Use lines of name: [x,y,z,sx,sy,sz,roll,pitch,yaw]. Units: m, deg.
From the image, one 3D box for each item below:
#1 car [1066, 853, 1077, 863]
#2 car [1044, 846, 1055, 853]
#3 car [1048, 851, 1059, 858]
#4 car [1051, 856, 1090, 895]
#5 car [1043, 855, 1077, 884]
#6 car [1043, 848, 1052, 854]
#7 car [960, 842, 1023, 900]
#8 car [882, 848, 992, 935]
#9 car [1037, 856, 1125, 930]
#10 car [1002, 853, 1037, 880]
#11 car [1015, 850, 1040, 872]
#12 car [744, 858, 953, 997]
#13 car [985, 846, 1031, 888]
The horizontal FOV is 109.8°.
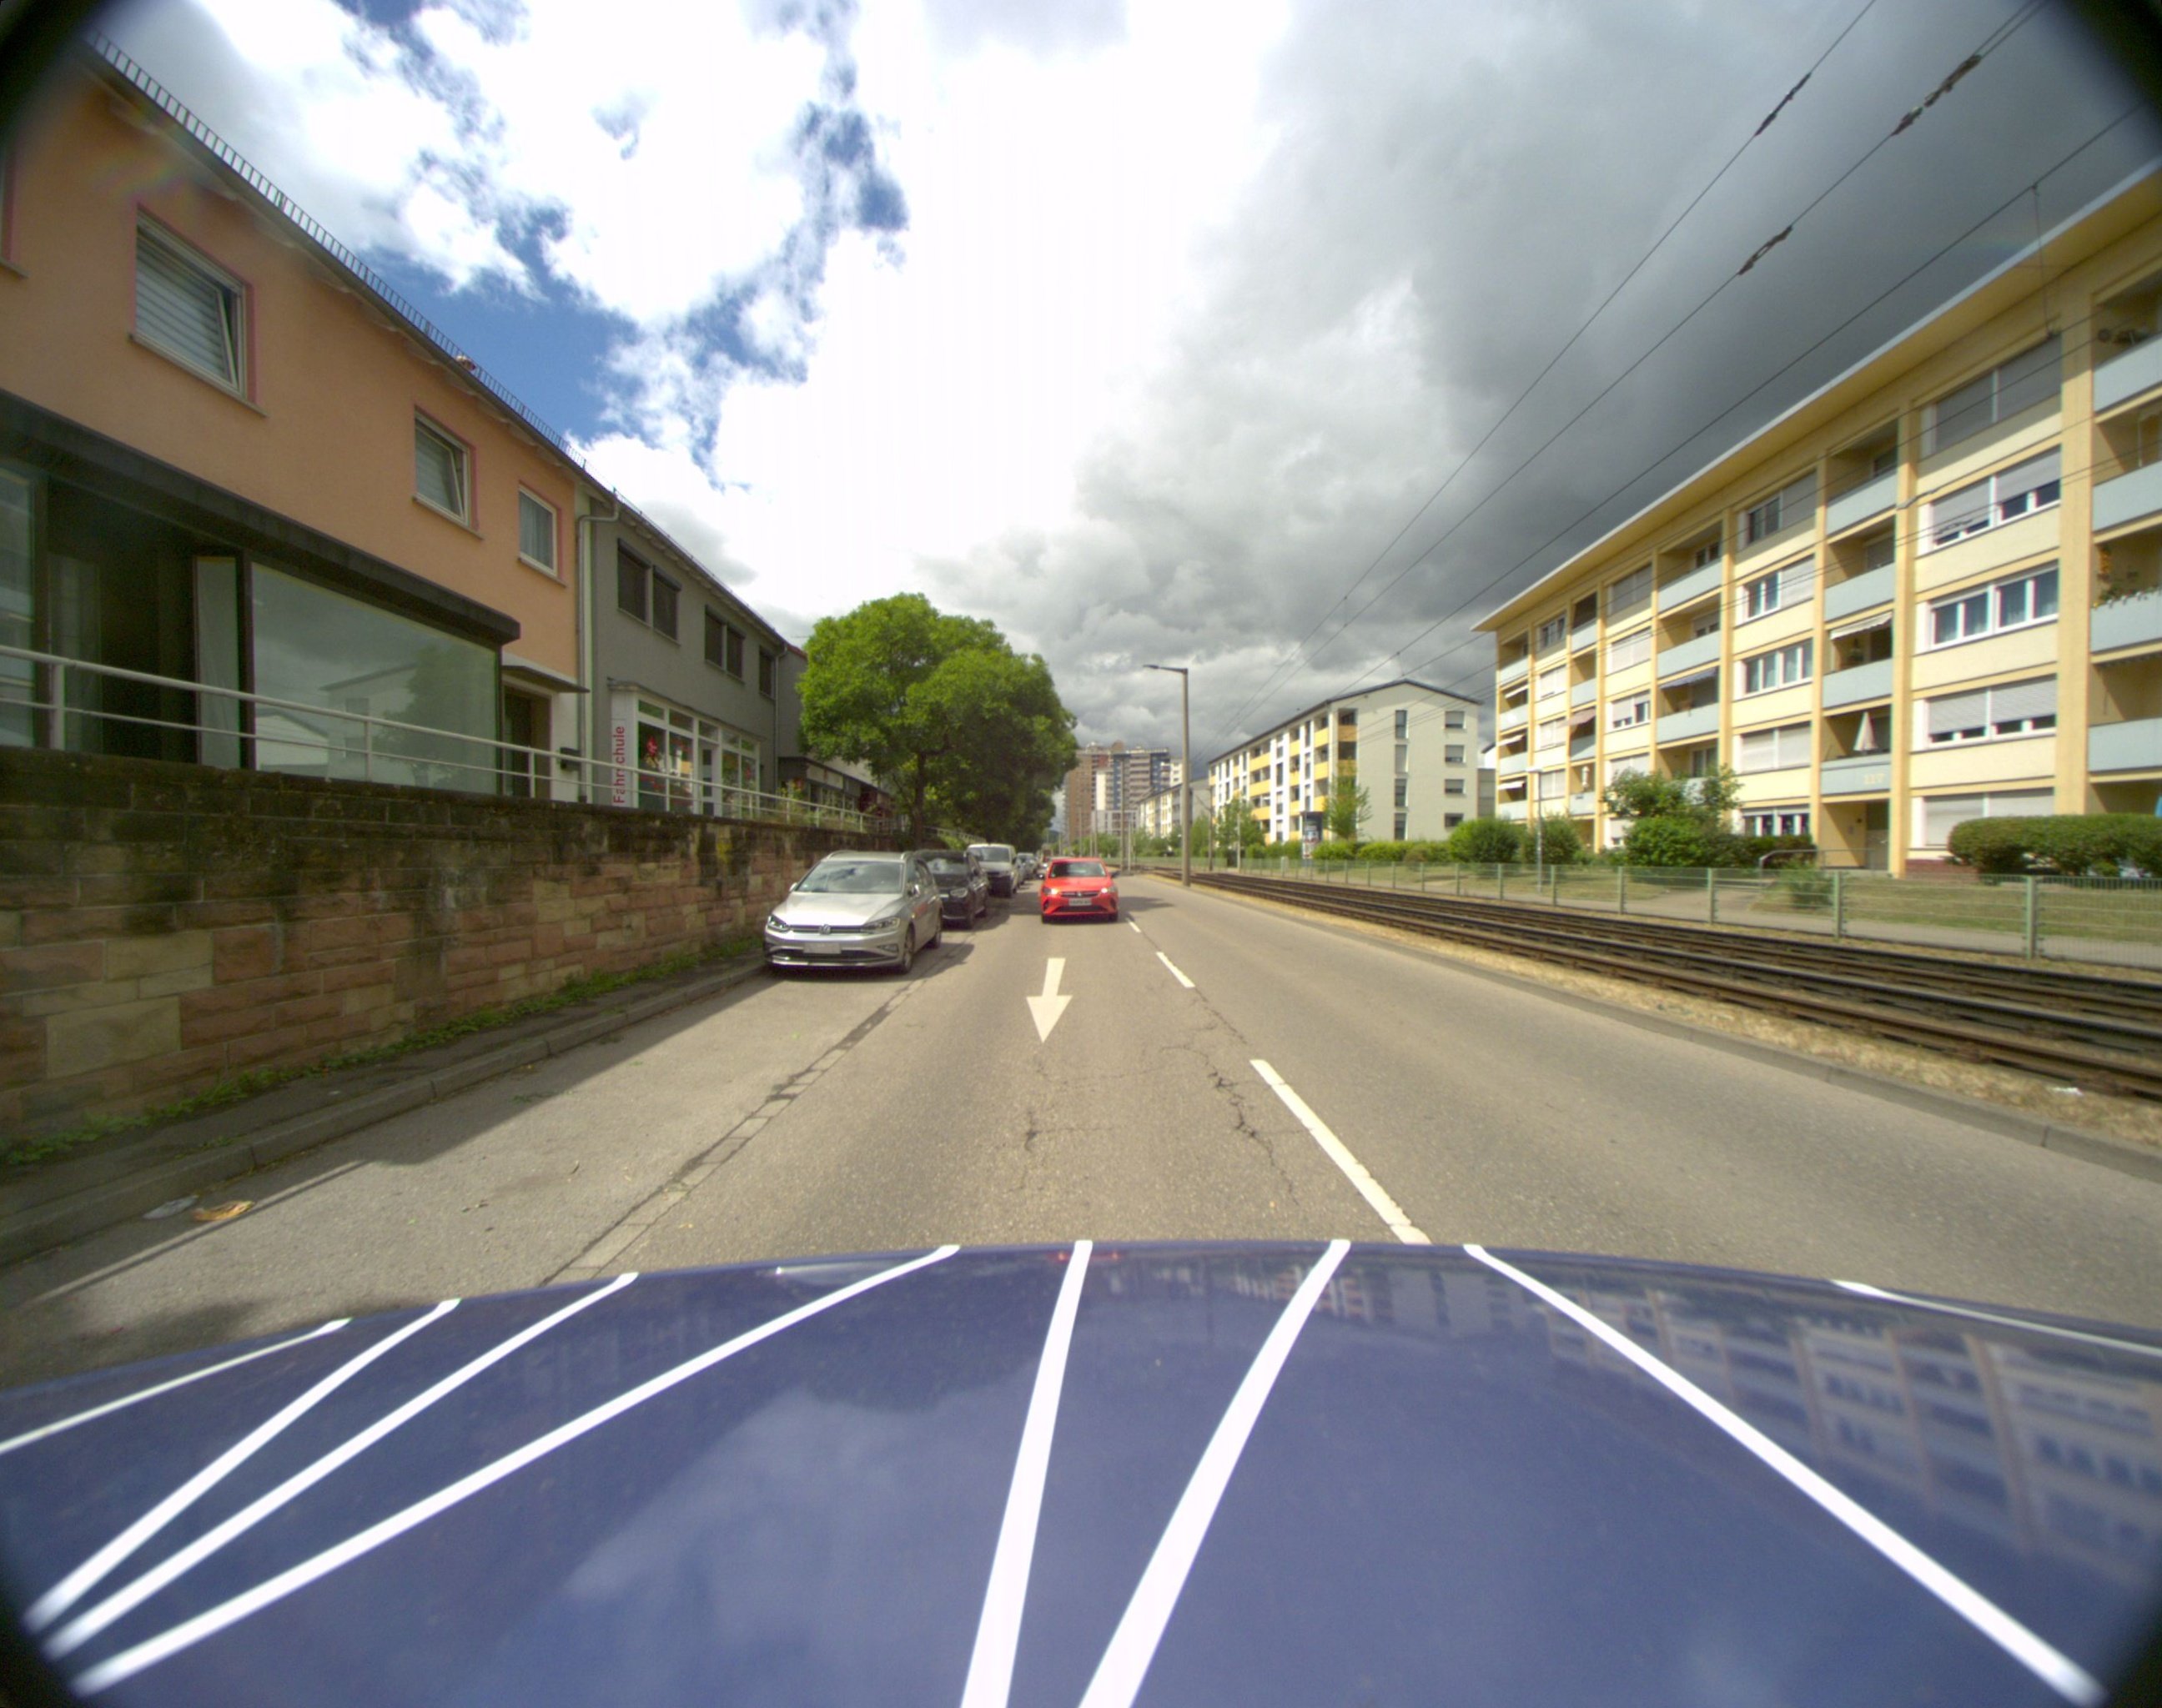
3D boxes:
car: [-1.929,0.807,154.854,2.237,2.051,4.361,0,1,-1]
car: [-7.983,-1.077,193.033,2.441,1.717,5.482,0,1,-1]
car: [-6.421,0.099,179.193,2.441,1.717,5.482,0,1,-1]
car: [-0.417,0.823,31.055,1.499,1.477,3.519,0,1,-1]
car: [-1.072,0.810,40.597,1.639,1.346,3.999,-2,1,1]
car: [-9.407,-0.924,214.229,2.441,1.717,5.482,0,1,-1]
car: [-3.299,0.560,28.879,1.854,1.997,4.968,0,1,-1]
car: [-3.068,0.730,16.968,1.760,1.706,3.999,0,1,-1]
car: [-0.031,0.816,18.017,1.783,1.434,4.130,-2,1,-1]
car: [-3.679,0.722,46.112,1.854,1.508,4.810,0,1,-1]
car: [-4.395,0.545,62.897,1.854,1.717,4.810,0,1,-1]
car: [-3.047,0.865,10.905,1.760,1.559,4.174,1,0,-1]
car: [-3.597,0.591,38.201,1.854,1.926,4.968,0,1,-1]
